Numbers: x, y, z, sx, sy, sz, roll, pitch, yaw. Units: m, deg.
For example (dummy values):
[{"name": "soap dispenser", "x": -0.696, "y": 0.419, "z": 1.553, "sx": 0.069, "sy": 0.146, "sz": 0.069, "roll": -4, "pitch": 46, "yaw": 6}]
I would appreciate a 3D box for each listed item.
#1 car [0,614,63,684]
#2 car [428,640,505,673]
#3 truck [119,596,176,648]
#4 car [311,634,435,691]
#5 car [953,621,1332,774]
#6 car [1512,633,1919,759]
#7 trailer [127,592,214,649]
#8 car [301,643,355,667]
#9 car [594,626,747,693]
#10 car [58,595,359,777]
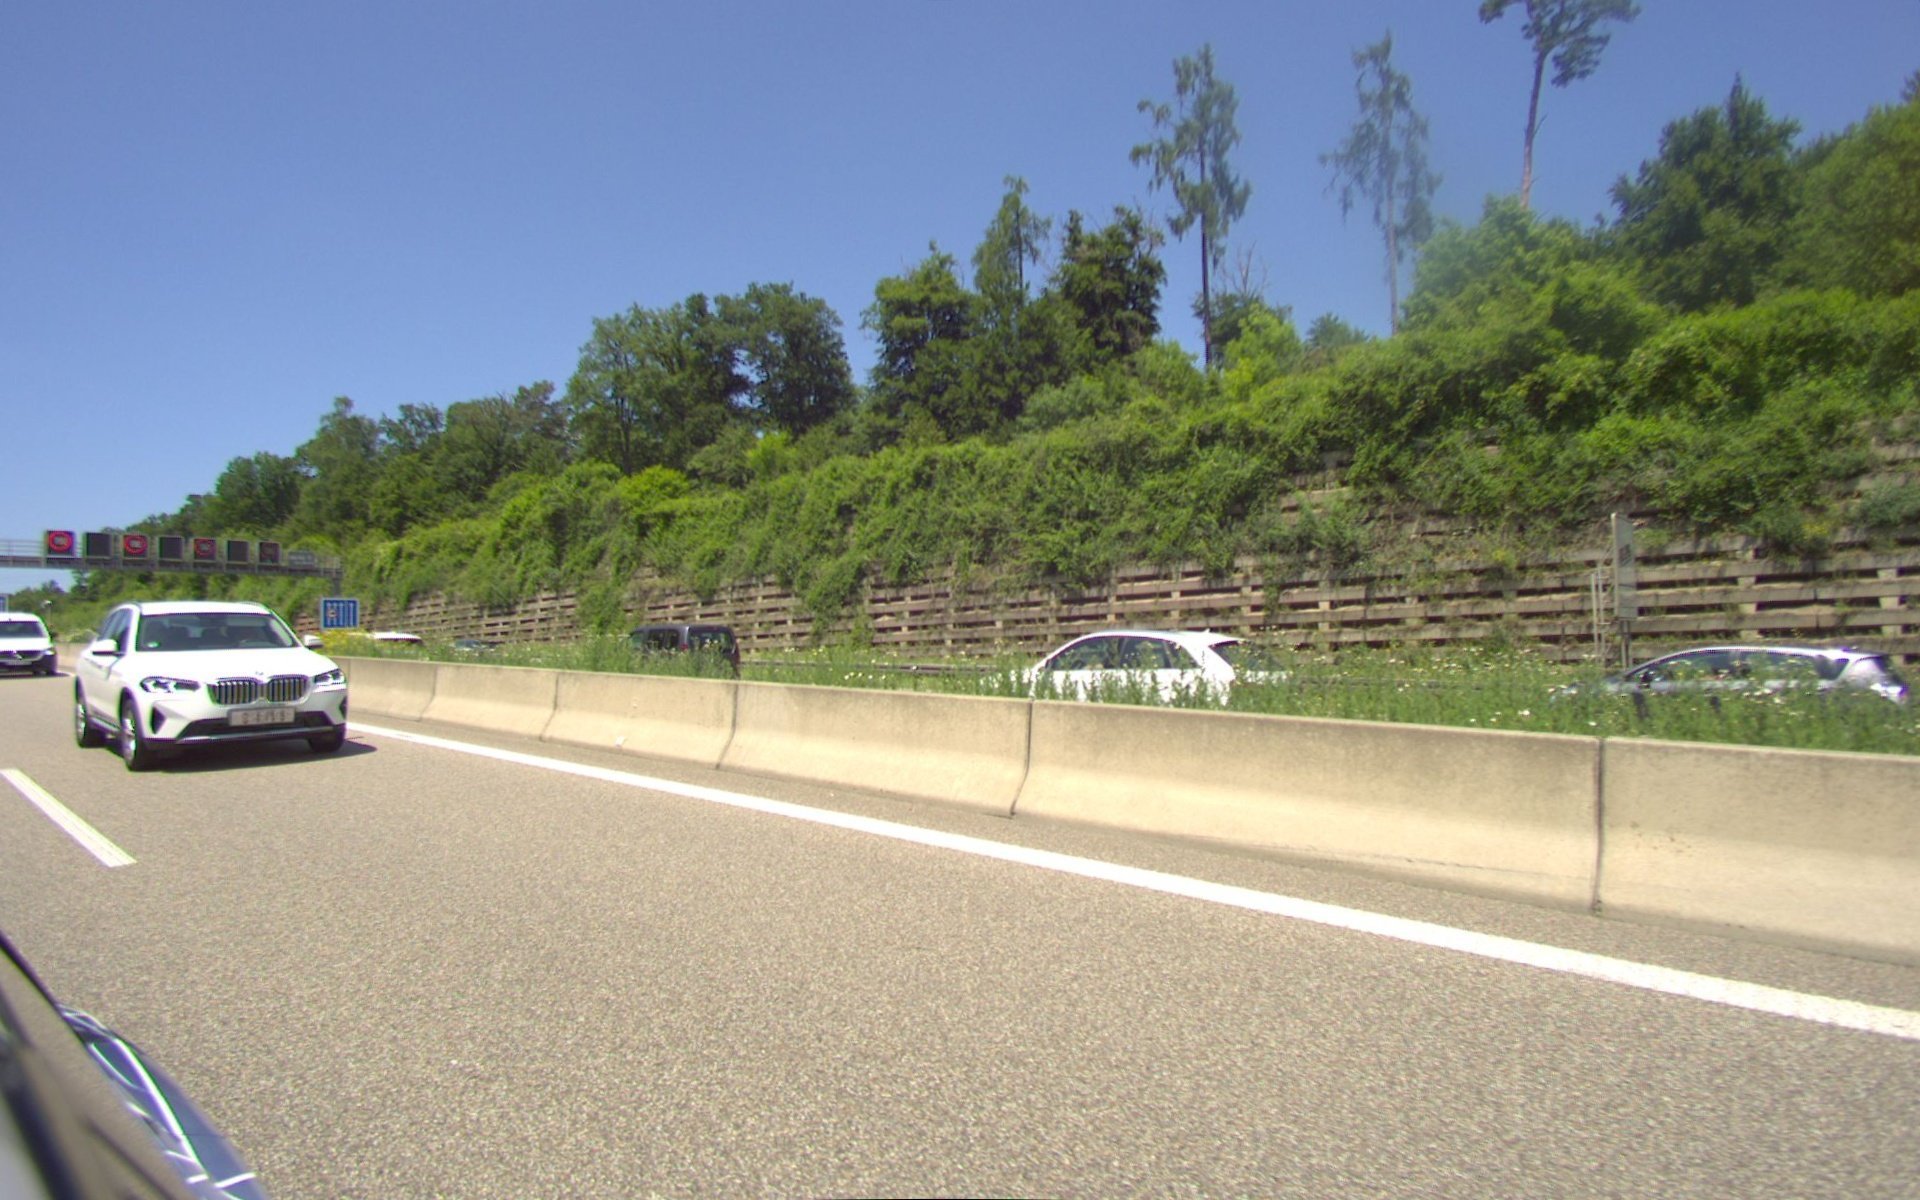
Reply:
[{"name": "car", "x": -26.806, "y": 1.387, "z": 28.389, "sx": 4.500, "sy": 1.788, "sz": 1.972, "roll": -3, "pitch": -1, "yaw": 43}, {"name": "car", "x": -24.457, "y": 2.750, "z": 50.099, "sx": 4.201, "sy": 1.533, "sz": 1.917, "roll": -2, "pitch": -3, "yaw": 41}, {"name": "truck", "x": -66.652, "y": 1.853, "z": 82.983, "sx": 5.927, "sy": 4.061, "sz": 2.652, "roll": -3, "pitch": -3, "yaw": 41}, {"name": "car", "x": -16.927, "y": 1.743, "z": 29.109, "sx": 4.202, "sy": 1.533, "sz": 1.916, "roll": -2, "pitch": -3, "yaw": 42}, {"name": "car", "x": 2.086, "y": 1.053, "z": 12.243, "sx": 4.199, "sy": 1.533, "sz": 1.770, "roll": -2, "pitch": -3, "yaw": 40}, {"name": "car", "x": 11.058, "y": 1.237, "z": 14.252, "sx": 5.475, "sy": 1.533, "sz": 1.916, "roll": -2, "pitch": -3, "yaw": 42}, {"name": "trailer", "x": -61.286, "y": 1.687, "z": 78.327, "sx": 14.180, "sy": 4.046, "sz": 2.652, "roll": -3, "pitch": -3, "yaw": 41}, {"name": "car", "x": -39.823, "y": 3.441, "z": 63.747, "sx": 4.921, "sy": 1.464, "sz": 1.640, "roll": -3, "pitch": -3, "yaw": 42}, {"name": "car", "x": -7.358, "y": 1.450, "z": 25.511, "sx": 4.202, "sy": 1.533, "sz": 1.769, "roll": -2, "pitch": -3, "yaw": 42}, {"name": "car", "x": -8.567, "y": 0.834, "z": 11.391, "sx": 4.366, "sy": 1.656, "sz": 1.826, "roll": -2, "pitch": -1, "yaw": 41}]
